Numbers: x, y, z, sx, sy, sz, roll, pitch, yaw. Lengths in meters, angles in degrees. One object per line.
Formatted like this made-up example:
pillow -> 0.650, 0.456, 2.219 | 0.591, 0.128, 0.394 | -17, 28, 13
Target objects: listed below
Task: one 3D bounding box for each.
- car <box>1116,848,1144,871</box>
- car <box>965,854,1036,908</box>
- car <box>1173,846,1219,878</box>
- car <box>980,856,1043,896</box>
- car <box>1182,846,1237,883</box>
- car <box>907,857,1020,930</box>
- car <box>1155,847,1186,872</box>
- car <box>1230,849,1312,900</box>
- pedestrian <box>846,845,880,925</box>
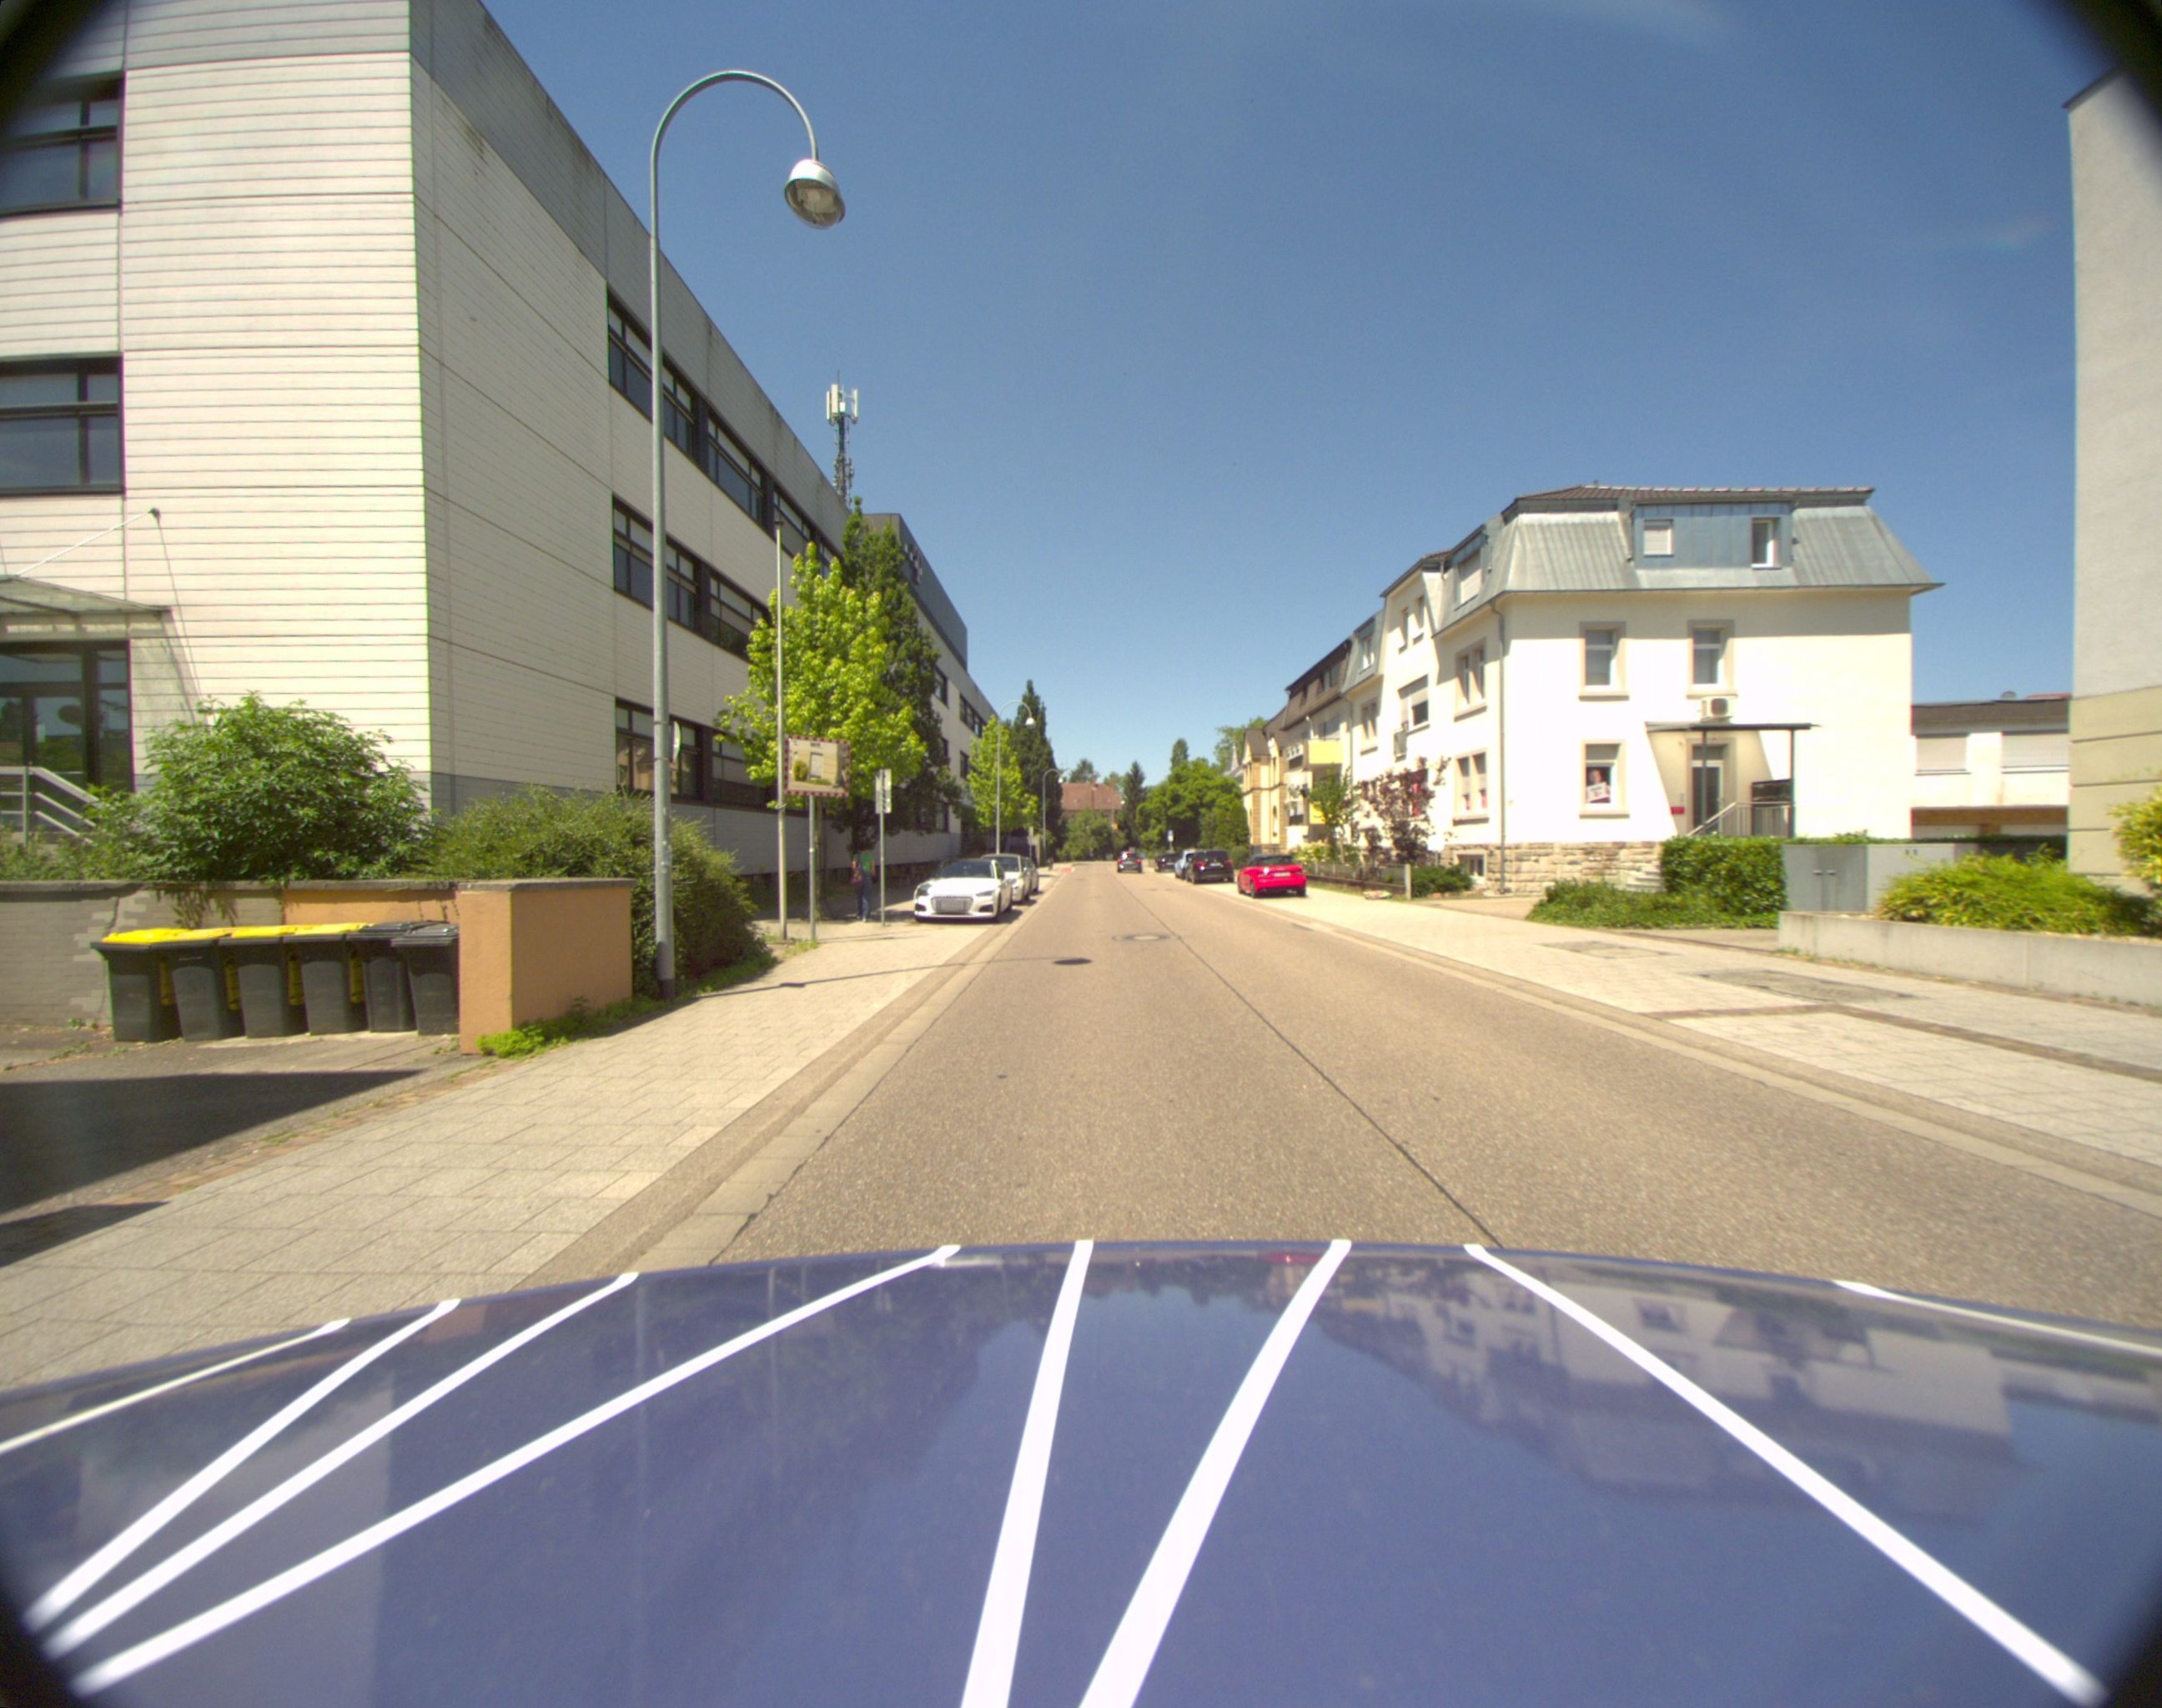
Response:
car -> 3.672, 0.413, 57.812 | 1.925, 1.668, 4.287 | 0, 1, 1
car -> -2.393, 0.756, 23.453 | 1.714, 1.490, 3.877 | 0, 1, 1
car -> 6.334, 0.404, 42.427 | 1.925, 1.577, 4.287 | -3, 1, 1
car -> -2.535, 0.769, 28.496 | 1.841, 1.357, 4.000 | 0, 1, 2
car -> 6.184, 0.472, 36.913 | 1.925, 1.577, 4.435 | -3, 1, 1
car -> -2.642, 0.833, 18.248 | 1.920, 1.460, 4.880 | 0, 1, 0
car -> 6.645, 0.352, 56.816 | 1.925, 1.681, 4.287 | -3, 1, 2
car -> 6.285, 0.628, 25.617 | 1.737, 1.444, 4.260 | -3, 1, 1
pedestrian -> -4.817, 0.659, 16.831 | 0.681, 1.690, 1.048 | 1, 1, -16
